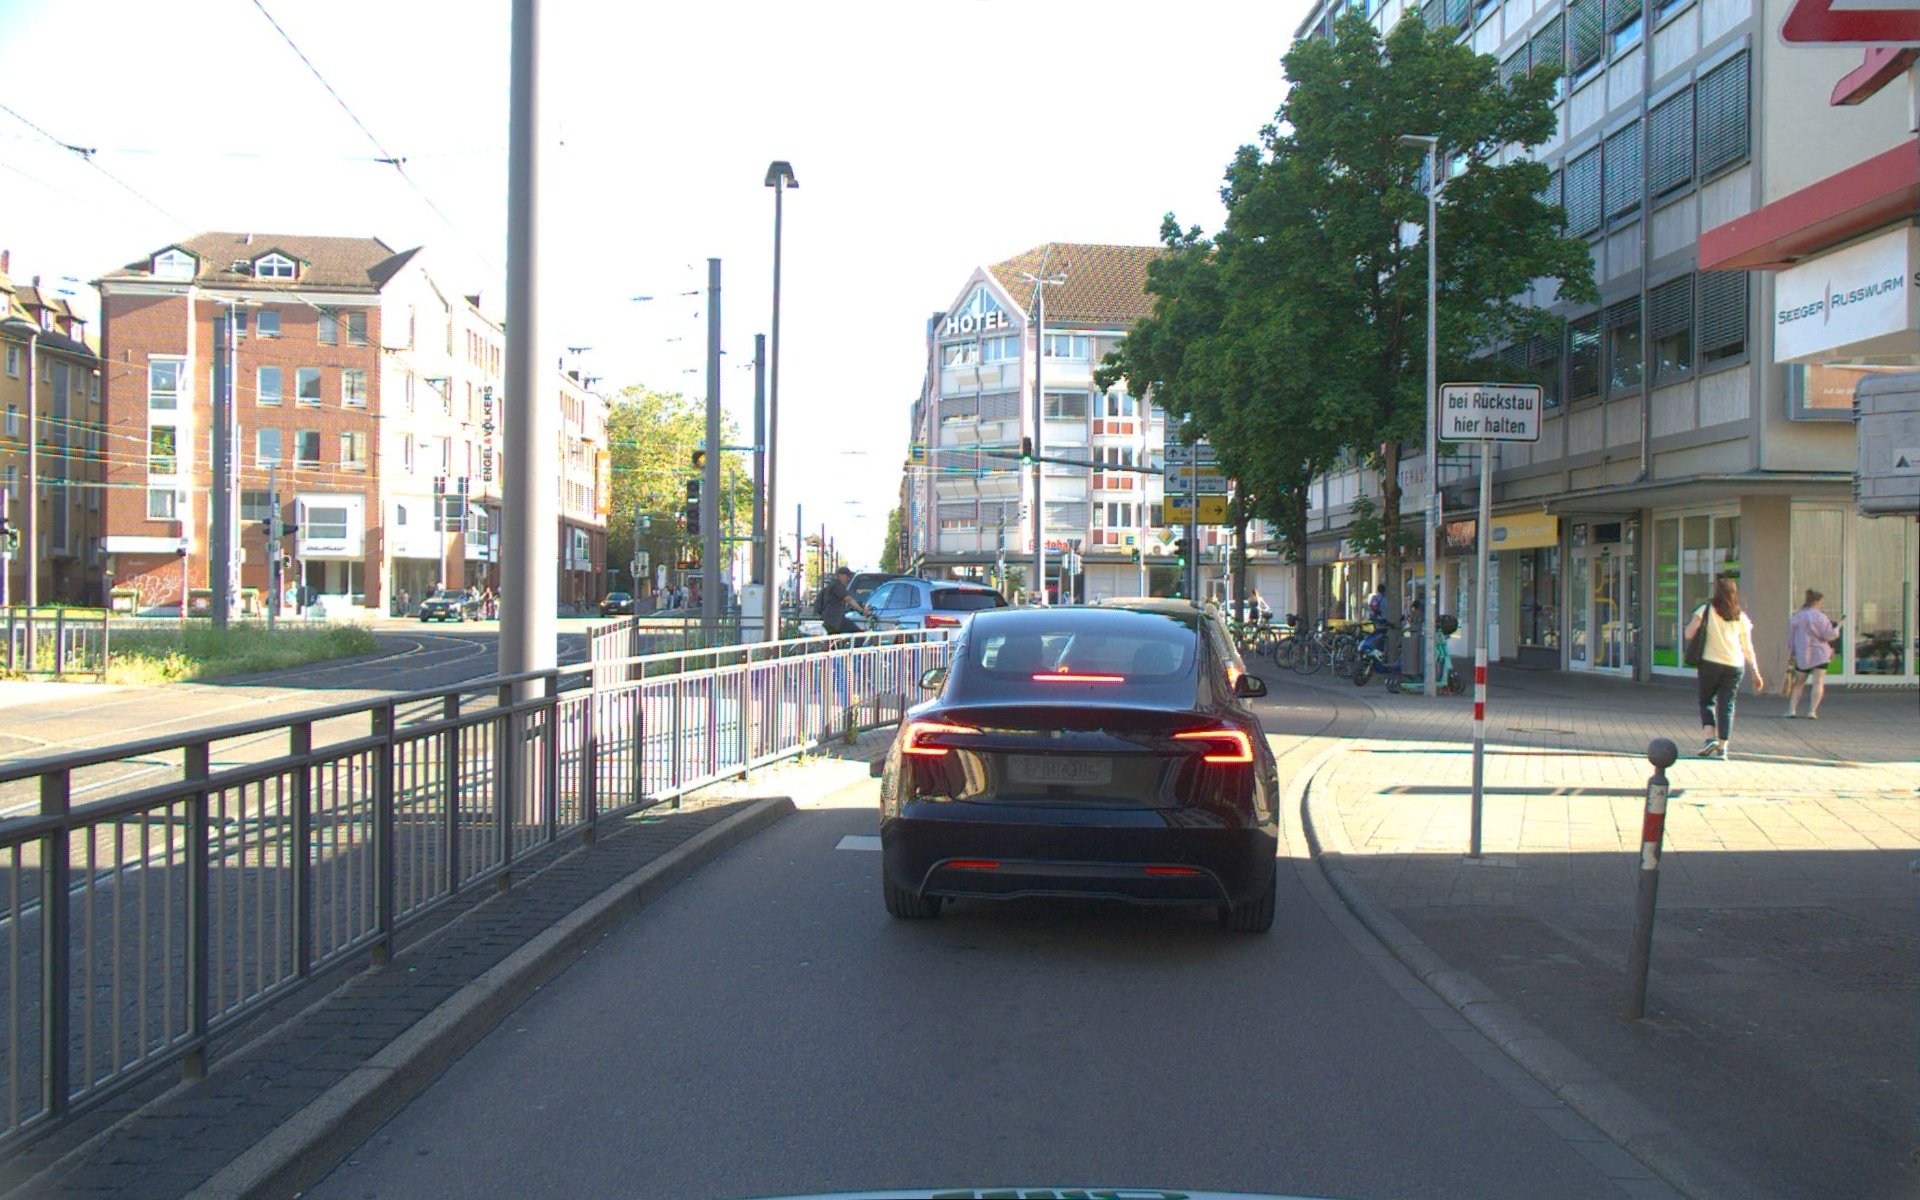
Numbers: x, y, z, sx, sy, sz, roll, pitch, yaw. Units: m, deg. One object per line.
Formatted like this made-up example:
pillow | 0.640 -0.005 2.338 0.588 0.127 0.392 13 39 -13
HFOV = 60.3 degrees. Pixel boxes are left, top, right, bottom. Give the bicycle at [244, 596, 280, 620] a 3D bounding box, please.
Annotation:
bicycle | -28.417 0.324 67.354 0.513 0.988 2.246 1 0 -1

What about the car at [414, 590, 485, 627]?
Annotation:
car | -22.481 0.368 72.954 1.675 1.553 4.038 1 0 3

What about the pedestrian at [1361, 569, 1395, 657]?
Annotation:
pedestrian | 9.920 0.303 39.233 0.648 2.049 0.579 1 -1 1

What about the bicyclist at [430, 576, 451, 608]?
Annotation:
bicyclist | -26.164 -0.415 83.271 0.767 1.590 0.746 1 -1 1

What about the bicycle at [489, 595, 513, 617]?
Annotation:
bicycle | -23.049 0.303 83.112 0.449 1.112 2.202 1 0 3

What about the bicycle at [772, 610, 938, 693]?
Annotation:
bicycle | -1.396 0.683 22.403 2.313 1.072 0.622 1 -1 -39

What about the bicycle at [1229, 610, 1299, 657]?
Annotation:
bicycle | 7.429 0.819 40.446 1.616 1.118 0.350 1 -1 1

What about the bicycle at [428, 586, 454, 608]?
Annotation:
bicycle | -26.125 -0.151 83.296 0.526 1.107 2.225 1 0 1

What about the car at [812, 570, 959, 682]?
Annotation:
car | -1.546 0.486 32.600 1.962 2.049 3.981 0 0 -17

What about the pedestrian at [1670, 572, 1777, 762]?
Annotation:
pedestrian | 7.452 0.622 16.183 0.895 1.783 1.038 0 0 22

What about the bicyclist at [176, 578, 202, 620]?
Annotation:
bicyclist | -28.223 -0.030 60.533 0.620 1.529 0.696 1 -1 -1

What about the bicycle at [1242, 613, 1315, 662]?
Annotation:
bicycle | 7.384 0.865 38.405 1.616 1.118 0.350 1 -1 1

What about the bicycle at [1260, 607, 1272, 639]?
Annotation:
bicycle | 10.157 0.760 54.973 0.325 1.052 1.257 1 0 8

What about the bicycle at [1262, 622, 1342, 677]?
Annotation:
bicycle | 7.127 1.030 34.463 1.620 1.118 0.349 1 -1 -11

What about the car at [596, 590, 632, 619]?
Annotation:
car | -21.988 0.285 105.259 1.663 1.762 3.704 1 0 -3

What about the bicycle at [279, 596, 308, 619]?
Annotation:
bicycle | -29.686 0.333 73.681 0.396 0.998 1.695 1 0 7

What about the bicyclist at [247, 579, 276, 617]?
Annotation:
bicyclist | -28.435 -0.079 67.333 0.880 1.529 0.696 1 -1 -1

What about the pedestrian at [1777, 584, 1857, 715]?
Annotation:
pedestrian | 11.392 0.646 22.014 0.871 1.696 0.808 1 -1 23

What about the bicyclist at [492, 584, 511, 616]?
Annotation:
bicyclist | -23.043 0.004 83.157 0.769 1.554 0.589 1 -1 4

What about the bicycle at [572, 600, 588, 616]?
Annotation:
bicycle | -26.993 0.552 117.502 0.518 1.107 2.225 1 0 1

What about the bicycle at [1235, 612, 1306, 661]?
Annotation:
bicycle | 7.400 0.866 39.432 1.616 1.118 0.350 1 -1 1

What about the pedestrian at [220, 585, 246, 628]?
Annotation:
pedestrian | -31.791 0.269 72.331 0.767 1.852 0.746 1 -1 1

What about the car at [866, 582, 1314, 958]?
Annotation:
car | 0.664 0.694 8.709 1.791 1.481 4.002 1 0 4

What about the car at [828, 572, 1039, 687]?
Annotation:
car | -0.517 0.441 26.517 1.859 1.691 4.125 1 0 -25

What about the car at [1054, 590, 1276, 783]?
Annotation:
car | 1.806 0.668 15.041 1.714 1.480 4.003 1 0 6

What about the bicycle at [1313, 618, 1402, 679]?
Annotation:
bicycle | 7.481 0.918 31.133 1.620 1.118 0.349 1 -1 -11

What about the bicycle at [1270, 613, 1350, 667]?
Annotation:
bicycle | 7.501 0.860 35.455 1.616 1.118 0.350 1 -1 1

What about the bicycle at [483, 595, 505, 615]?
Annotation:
bicycle | -25.820 0.286 91.640 0.518 1.107 2.284 1 0 1

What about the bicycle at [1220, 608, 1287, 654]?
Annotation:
bicycle | 7.364 0.776 41.492 1.616 1.118 0.350 0 0 1

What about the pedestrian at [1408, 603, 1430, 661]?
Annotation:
pedestrian | 10.866 0.747 39.139 0.381 1.367 0.513 1 -1 1

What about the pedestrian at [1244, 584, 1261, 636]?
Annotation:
pedestrian | 9.801 0.339 55.483 0.515 1.740 0.404 1 -1 13

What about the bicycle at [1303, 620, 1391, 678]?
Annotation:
bicycle | 7.384 0.931 31.553 1.620 1.079 0.349 1 -1 -11

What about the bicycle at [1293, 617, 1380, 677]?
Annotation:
bicycle | 7.280 0.909 31.975 1.620 1.118 0.349 1 -1 -11

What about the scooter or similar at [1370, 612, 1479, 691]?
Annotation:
scooter or similar | 7.665 0.839 27.298 1.610 1.236 0.644 1 -1 30

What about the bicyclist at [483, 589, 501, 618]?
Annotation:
bicyclist | -25.863 0.171 91.340 0.767 1.590 0.746 0 0 1

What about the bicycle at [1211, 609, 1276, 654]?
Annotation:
bicycle | 7.293 0.801 42.584 1.616 1.118 0.350 1 -1 1

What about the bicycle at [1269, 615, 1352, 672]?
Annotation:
bicycle | 7.097 0.886 33.500 1.620 1.118 0.349 1 -1 -11

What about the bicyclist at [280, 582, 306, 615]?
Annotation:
bicyclist | -29.703 -0.067 73.672 0.689 1.496 0.973 0 0 7

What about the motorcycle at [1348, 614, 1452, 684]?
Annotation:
motorcycle | 7.810 0.858 29.375 1.673 1.194 0.541 1 -1 -3

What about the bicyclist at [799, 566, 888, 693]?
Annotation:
bicyclist | -1.569 0.382 22.207 0.753 1.657 0.964 1 -1 -39

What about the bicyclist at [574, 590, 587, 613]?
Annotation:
bicyclist | -26.985 0.117 117.627 0.767 1.590 0.746 1 -1 1

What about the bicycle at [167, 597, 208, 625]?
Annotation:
bicycle | -28.220 0.388 60.433 0.437 0.988 2.246 1 0 -1

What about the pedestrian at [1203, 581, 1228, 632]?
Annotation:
pedestrian | 8.562 0.217 55.338 0.685 1.691 0.777 1 -1 -1
